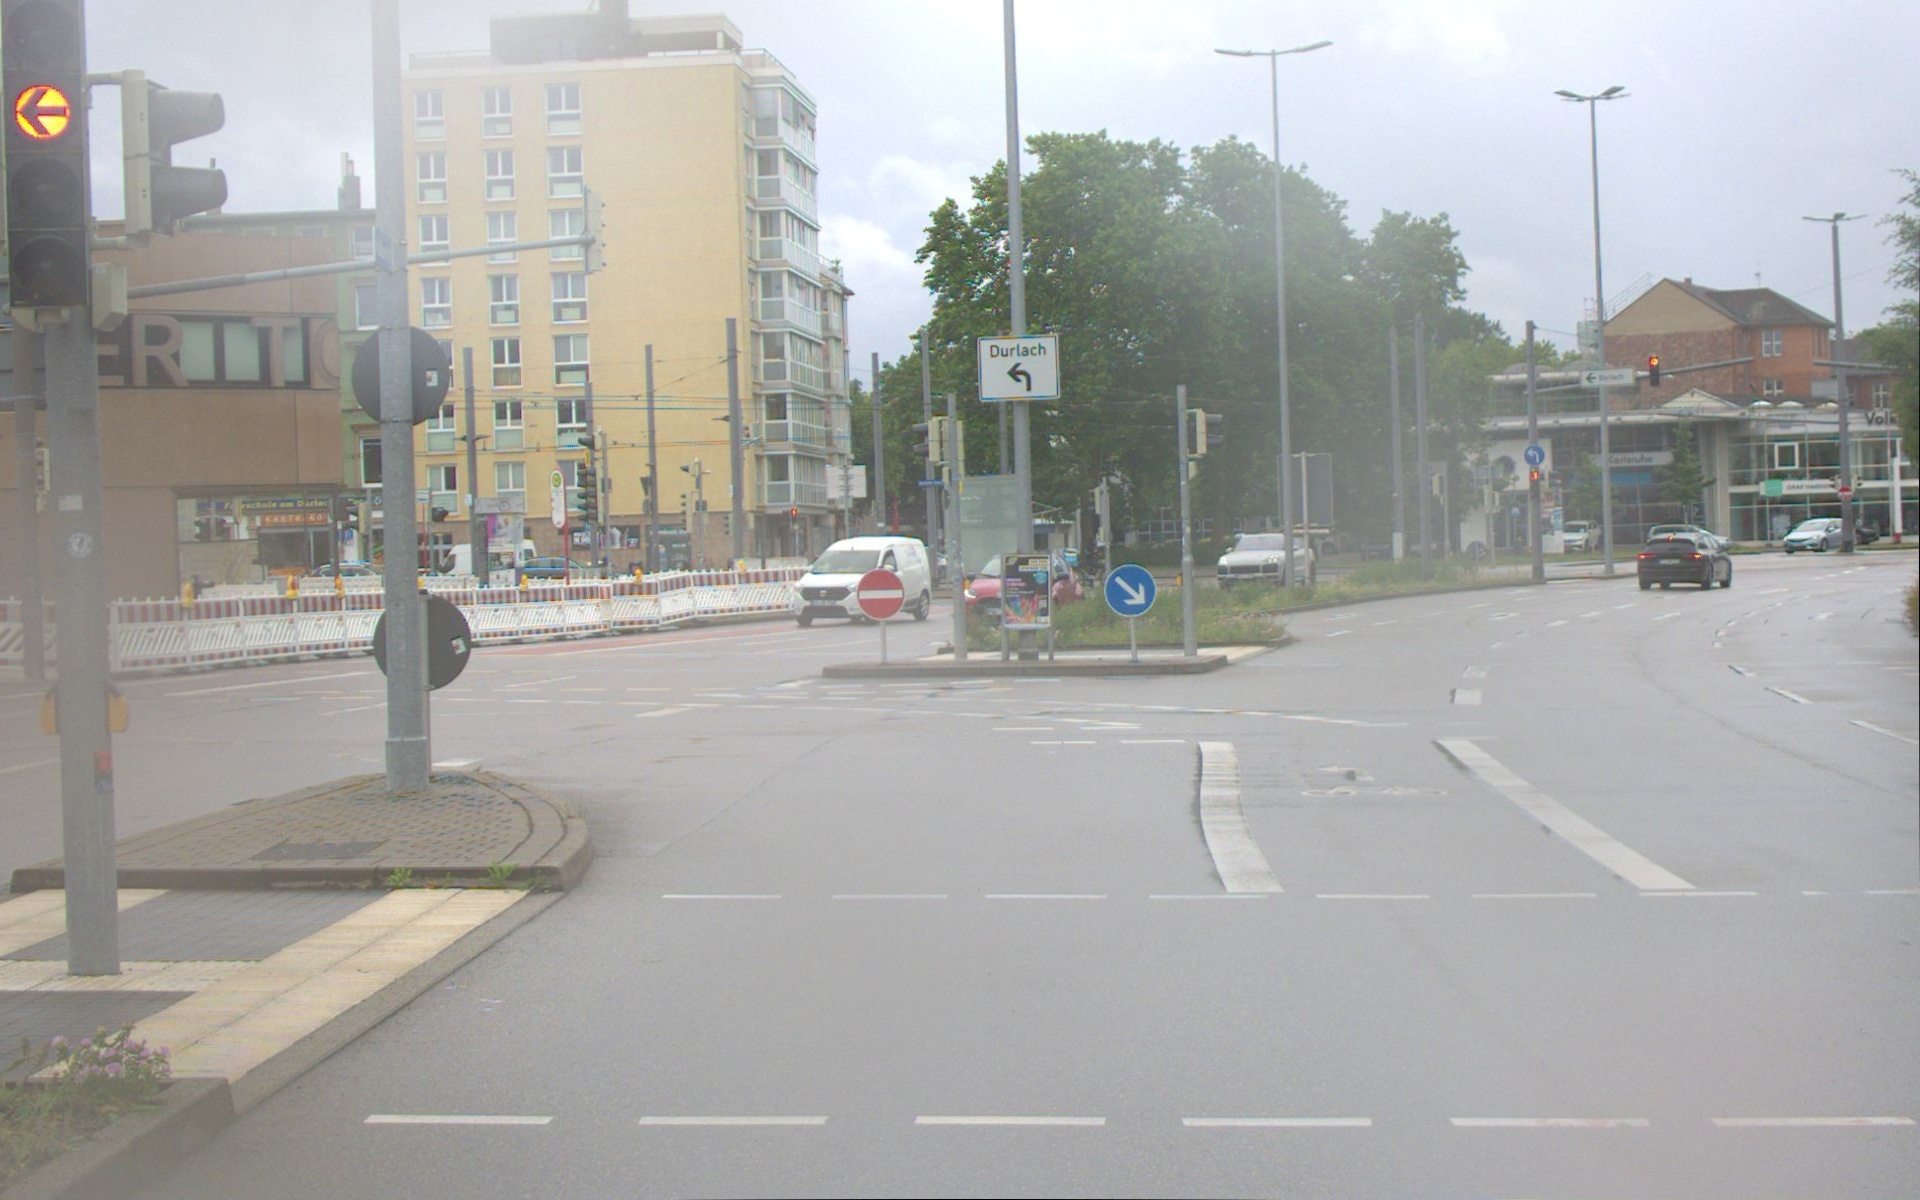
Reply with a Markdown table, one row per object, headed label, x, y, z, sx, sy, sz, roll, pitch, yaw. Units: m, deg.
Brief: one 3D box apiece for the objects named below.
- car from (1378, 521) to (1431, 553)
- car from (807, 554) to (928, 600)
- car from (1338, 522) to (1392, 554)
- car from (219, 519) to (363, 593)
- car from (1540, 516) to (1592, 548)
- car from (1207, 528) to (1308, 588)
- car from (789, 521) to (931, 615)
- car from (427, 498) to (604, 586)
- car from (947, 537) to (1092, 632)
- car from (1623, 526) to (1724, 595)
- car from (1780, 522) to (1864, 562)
| label | x | y | z | sx | sy | sz | roll | pitch | yaw |
| --- | --- | --- | --- | --- | --- | --- | --- | --- | --- |
| car | 24.565 | -3.490 | 189.976 | 1.792 | 1.637 | 4.154 | -1 | 1 | 23 |
| car | -3.552 | -0.896 | 132.731 | 4.383 | 1.637 | 1.795 | -1 | 1 | 8 |
| car | 22.489 | -3.447 | 190.803 | 1.792 | 1.637 | 4.154 | -1 | 1 | 23 |
| car | -27.632 | -1.843 | 142.100 | 5.351 | 2.877 | 2.339 | -2 | 1 | 2 |
| car | 32.885 | -3.678 | 186.497 | 1.792 | 1.637 | 4.154 | -1 | 1 | 23 |
| car | 8.646 | -1.234 | 99.662 | 1.792 | 1.637 | 4.155 | -1 | 1 | 21 |
| car | -2.054 | -0.703 | 71.841 | 1.791 | 1.852 | 4.156 | -1 | 1 | 15 |
| car | -18.262 | -2.404 | 141.459 | 6.742 | 3.368 | 2.809 | -2 | 1 | 2 |
| car | 1.138 | -0.306 | 63.970 | 1.791 | 1.637 | 4.044 | -1 | 1 | 14 |
| car | 18.040 | -1.019 | 86.826 | 1.792 | 1.637 | 4.155 | -1 | 1 | 21 |
| car | 37.788 | -2.551 | 150.663 | 1.794 | 1.637 | 4.149 | -1 | 2 | 42 |
